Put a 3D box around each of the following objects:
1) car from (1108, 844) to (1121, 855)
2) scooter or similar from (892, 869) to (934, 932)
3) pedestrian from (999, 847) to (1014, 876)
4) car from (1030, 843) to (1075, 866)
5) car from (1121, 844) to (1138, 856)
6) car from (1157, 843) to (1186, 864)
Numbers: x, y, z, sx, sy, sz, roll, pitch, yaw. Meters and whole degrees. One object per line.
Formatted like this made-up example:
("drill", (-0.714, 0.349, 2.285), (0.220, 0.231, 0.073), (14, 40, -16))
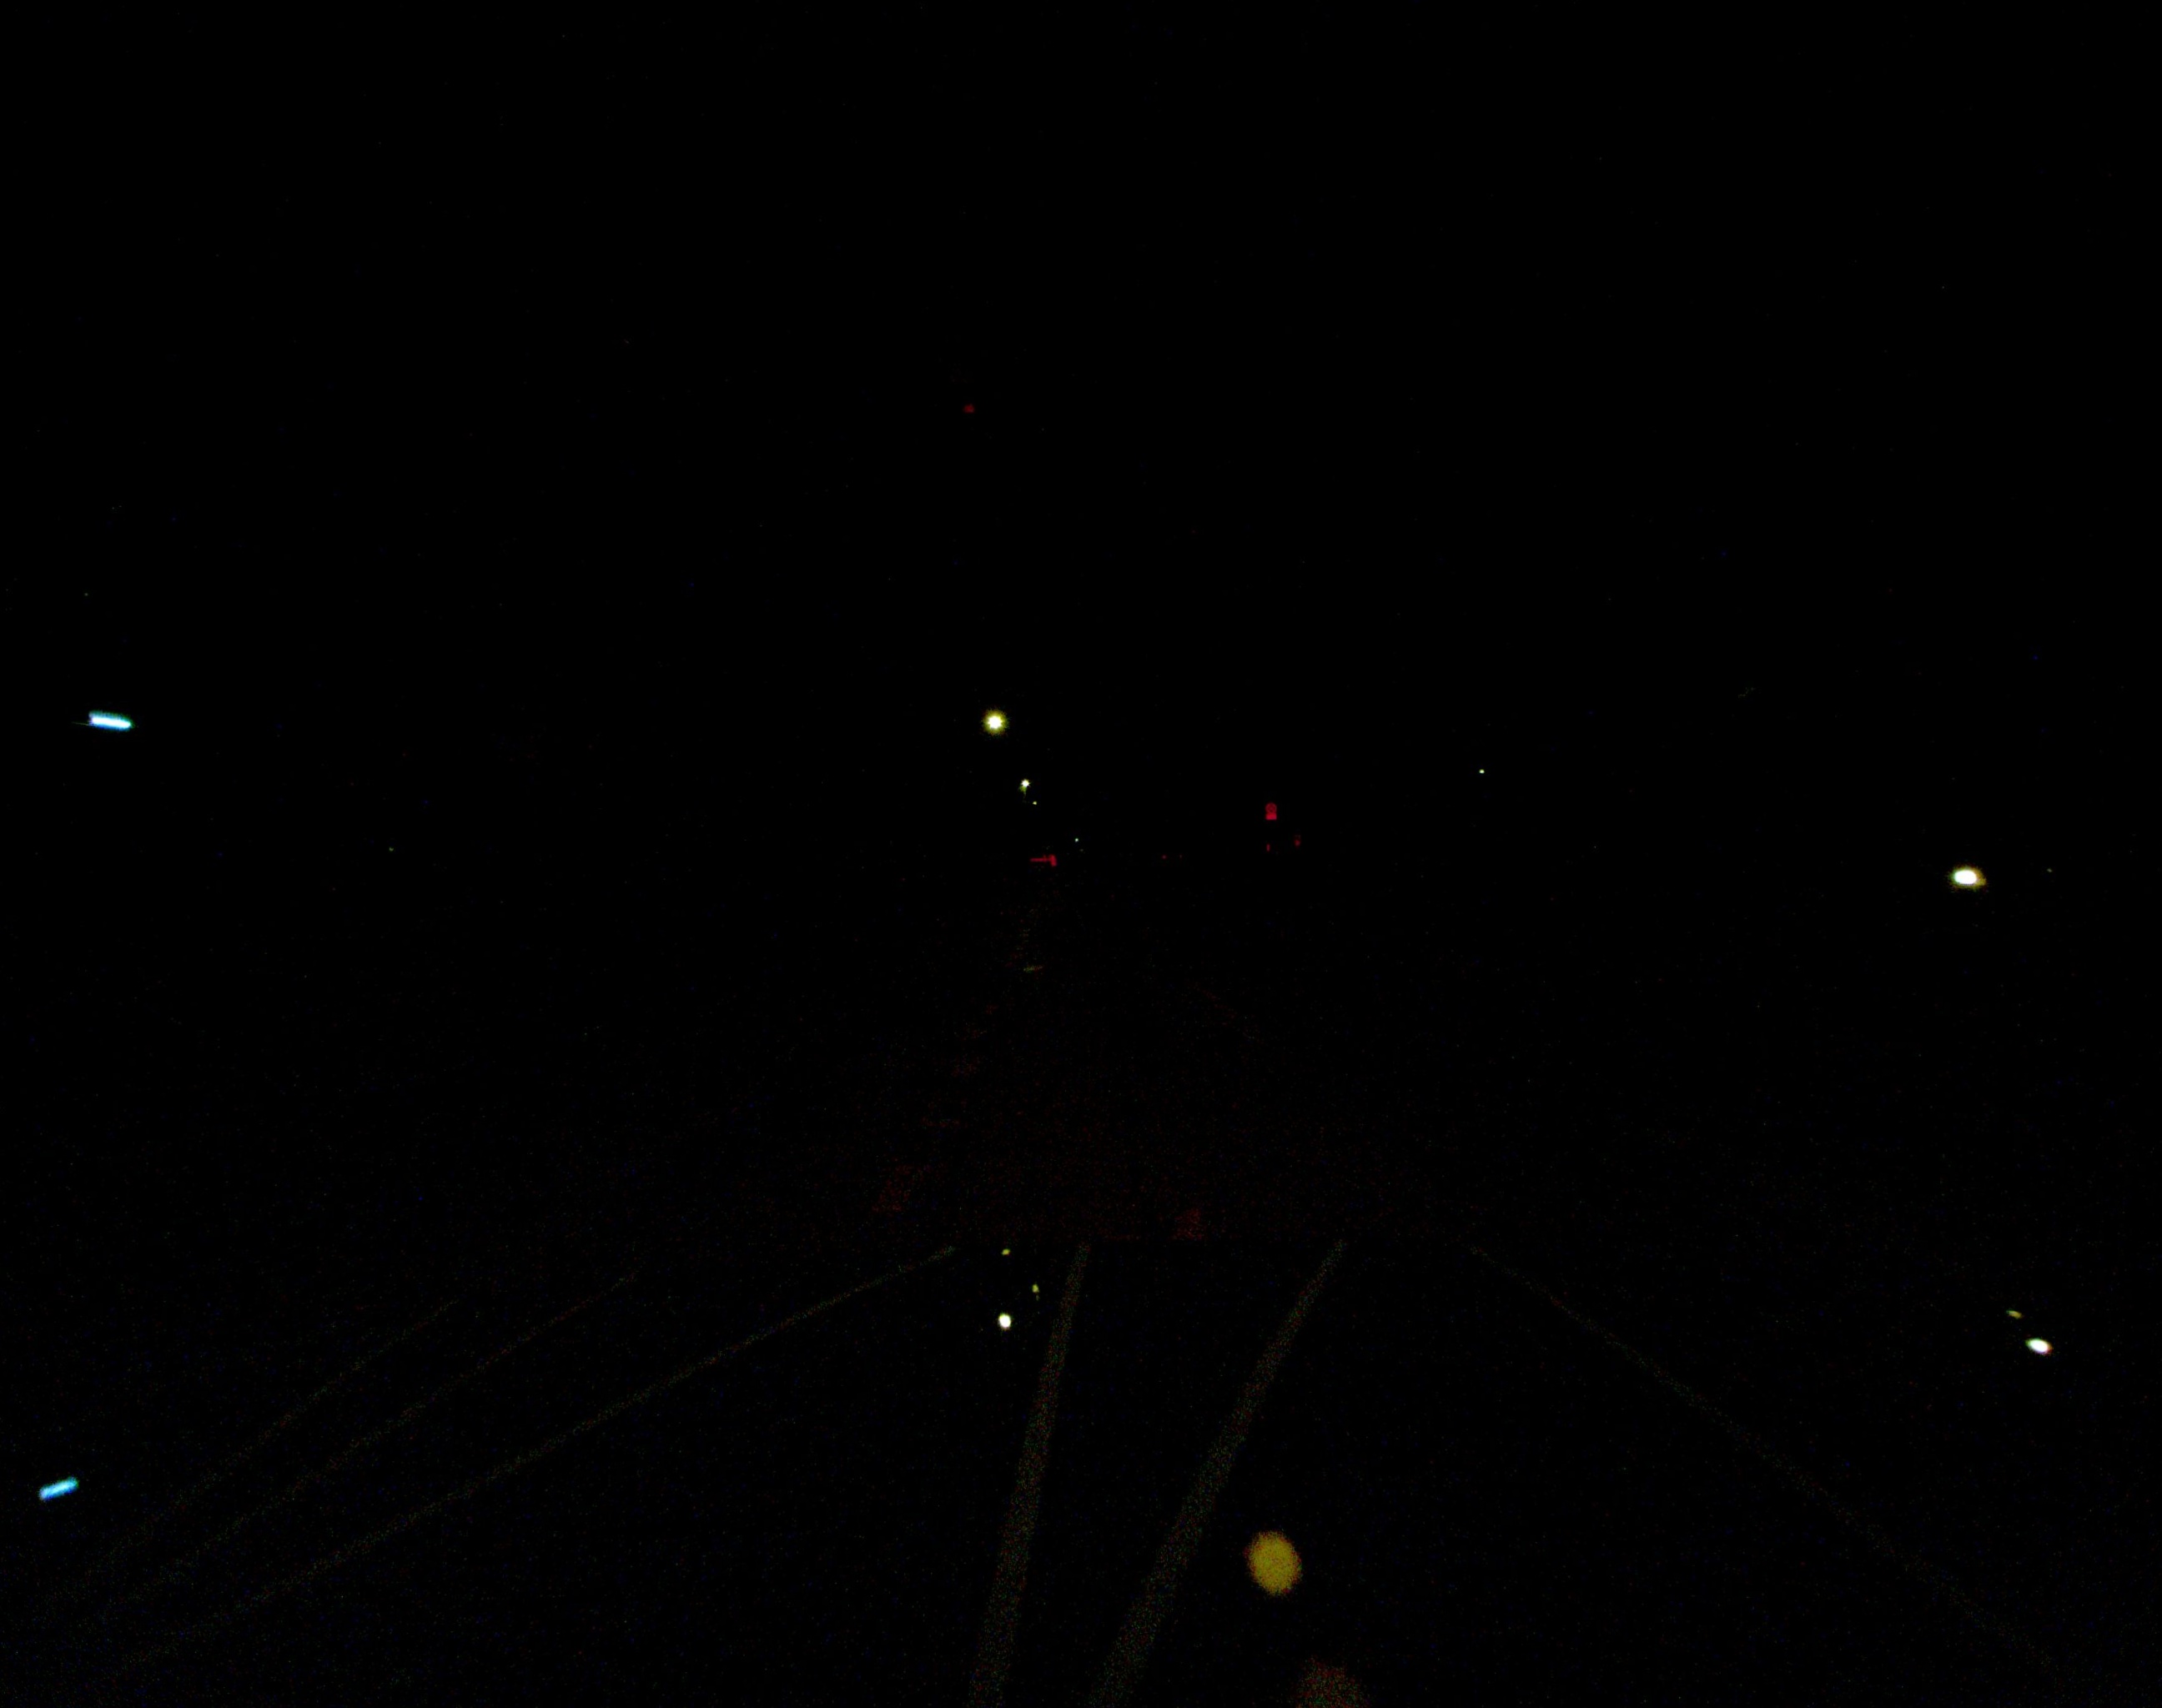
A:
("car", (5.218, -0.757, 118.144), (1.911, 1.445, 3.999), (-3, 2, 1))
("scooter or similar", (-3.581, 0.970, 16.269), (0.570, 1.271, 1.391), (0, 0, 0))
("pedestrian", (-4.776, 0.447, 48.700), (0.824, 1.809, 0.608), (-3, 2, 1))
("car", (-2.586, 0.028, 70.713), (3.997, 1.821, 1.912), (-3, 2, 0))
("car", (6.384, -0.538, 100.456), (1.911, 1.445, 3.999), (-3, 2, 1))
("car", (7.219, -0.056, 60.899), (1.911, 1.445, 3.999), (-3, 2, 1))
